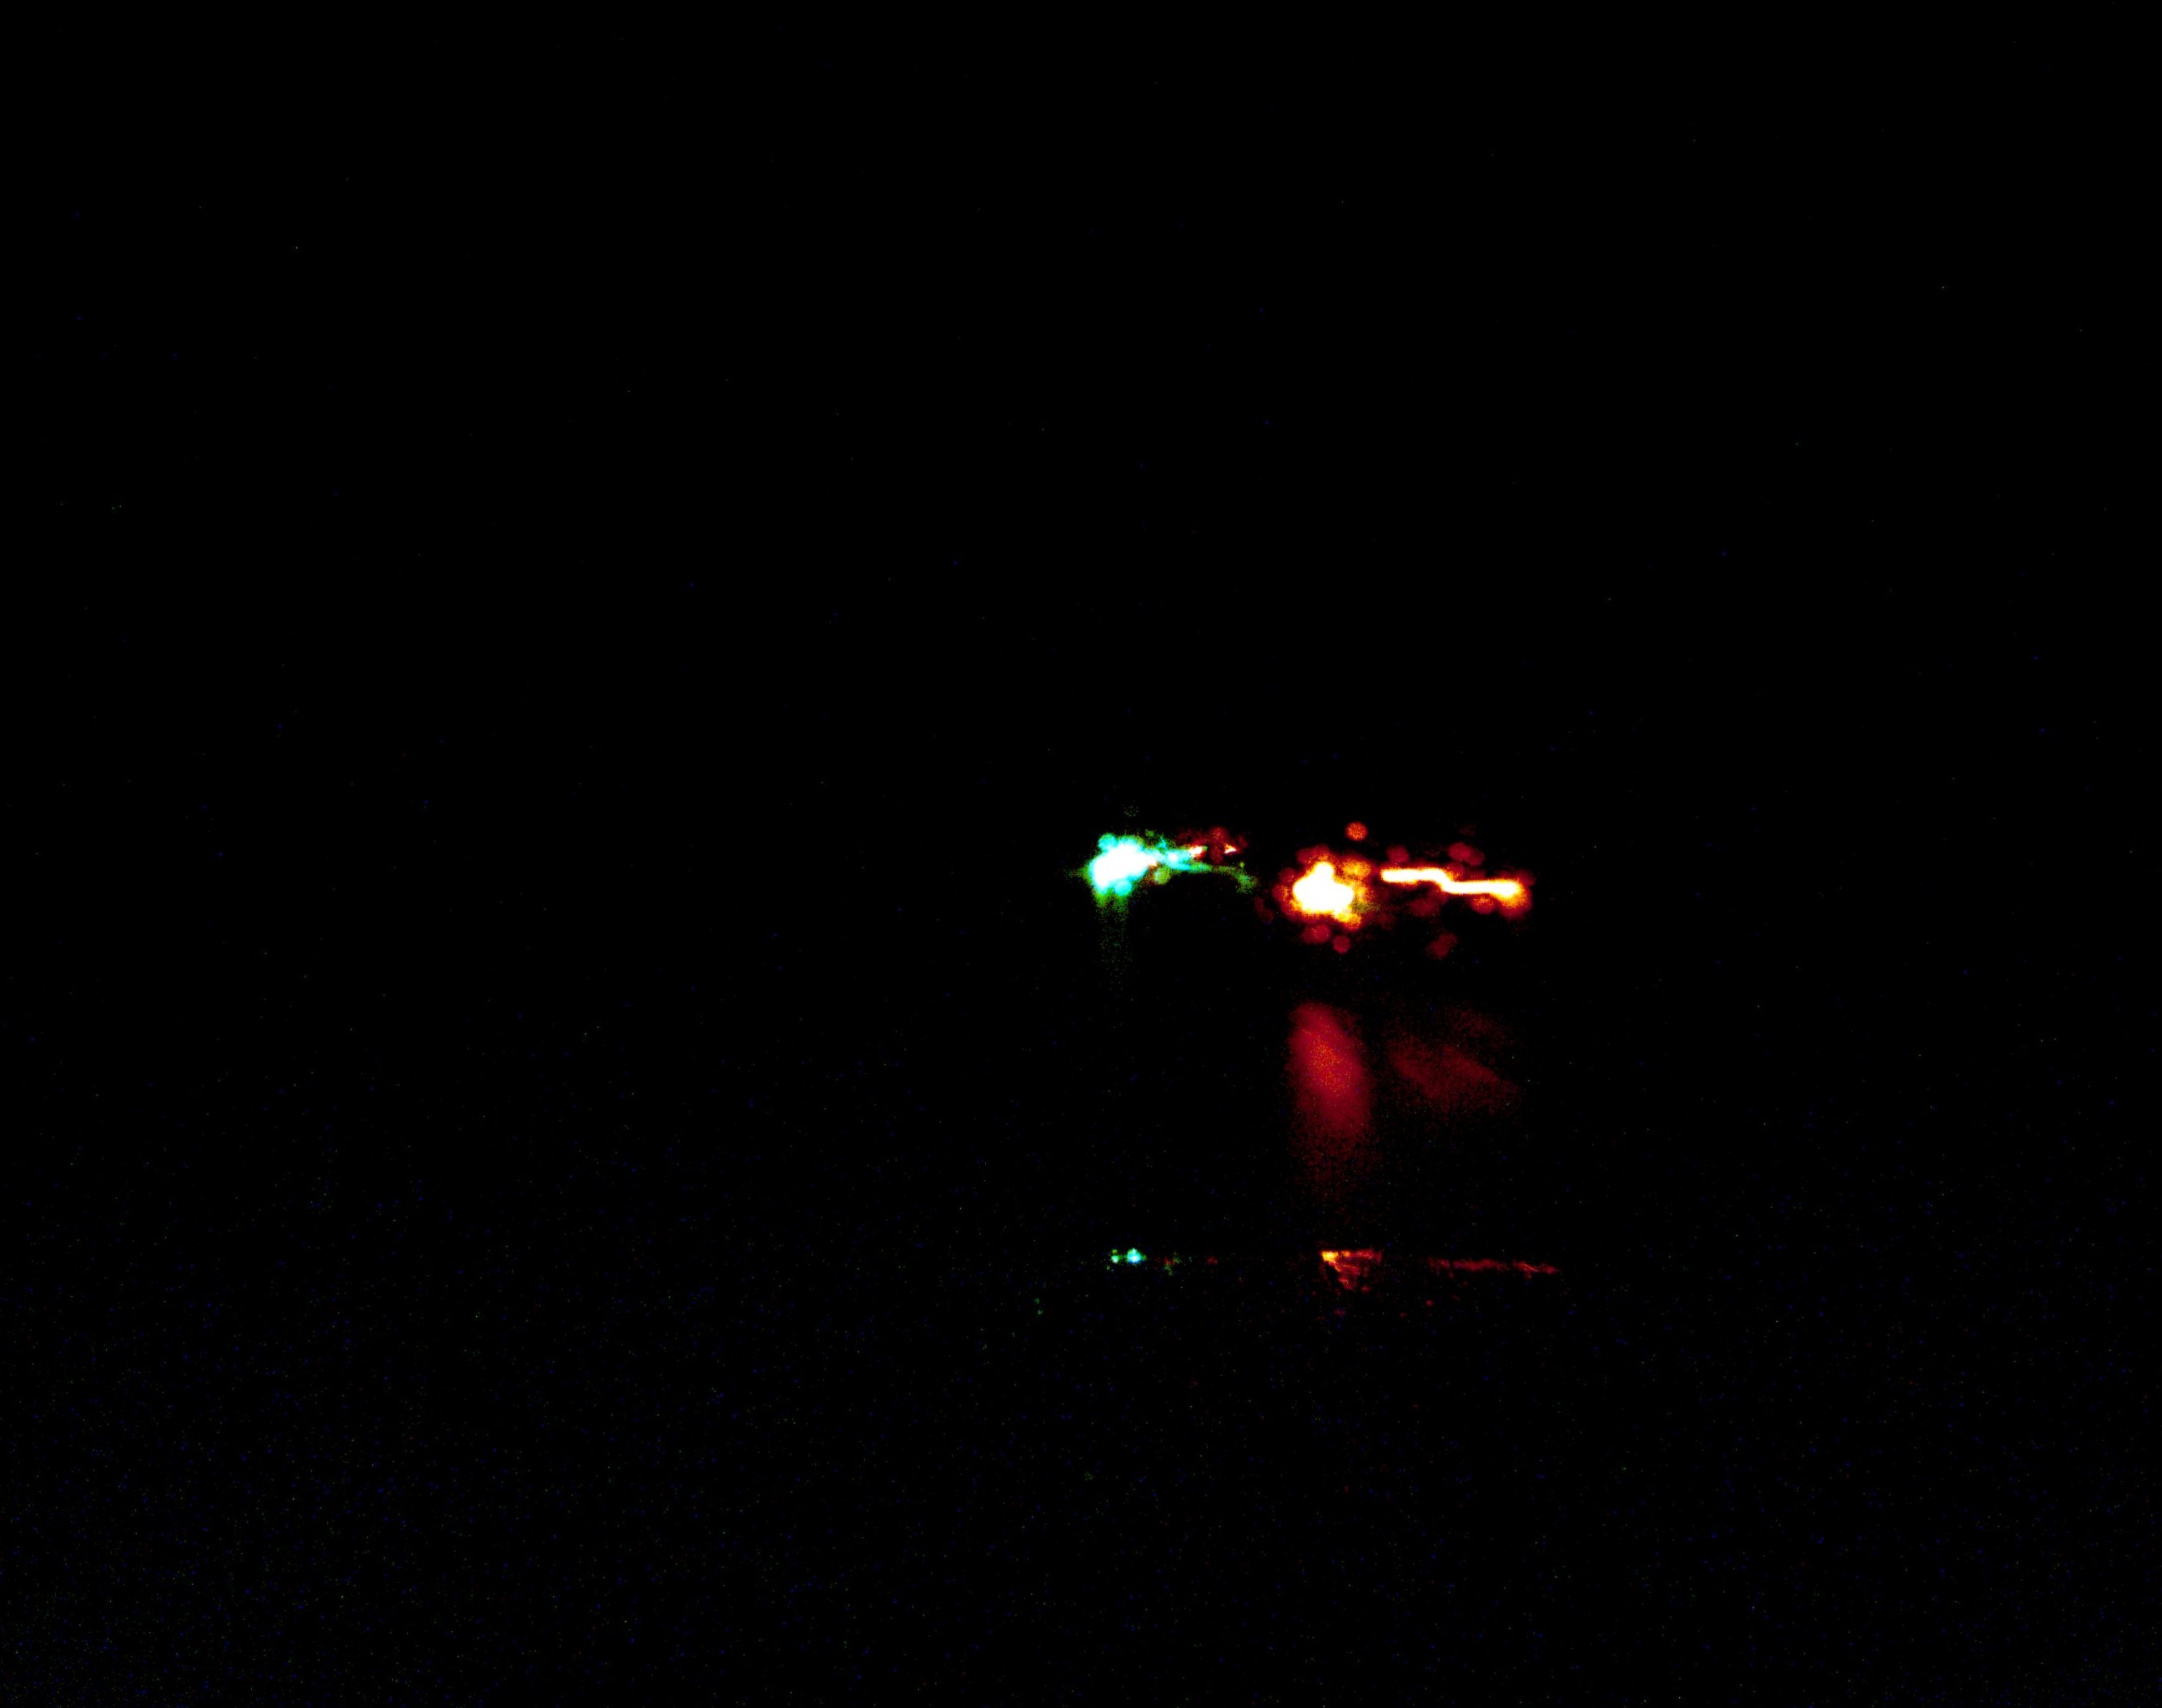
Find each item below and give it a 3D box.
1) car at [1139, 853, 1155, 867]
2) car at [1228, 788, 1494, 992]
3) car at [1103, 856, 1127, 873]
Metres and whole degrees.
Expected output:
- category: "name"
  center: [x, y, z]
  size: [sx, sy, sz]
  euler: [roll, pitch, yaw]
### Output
- category: "car"
  center: [8.969, 0.822, 103.387]
  size: [1.931, 1.693, 4.001]
  euler: [-2, 0, 3]
- category: "car"
  center: [3.711, 0.429, 11.385]
  size: [1.998, 2.259, 5.467]
  euler: [-2, 0, 1]
- category: "car"
  center: [3.572, 1.073, 78.984]
  size: [1.877, 1.578, 4.891]
  euler: [-2, 0, 8]
